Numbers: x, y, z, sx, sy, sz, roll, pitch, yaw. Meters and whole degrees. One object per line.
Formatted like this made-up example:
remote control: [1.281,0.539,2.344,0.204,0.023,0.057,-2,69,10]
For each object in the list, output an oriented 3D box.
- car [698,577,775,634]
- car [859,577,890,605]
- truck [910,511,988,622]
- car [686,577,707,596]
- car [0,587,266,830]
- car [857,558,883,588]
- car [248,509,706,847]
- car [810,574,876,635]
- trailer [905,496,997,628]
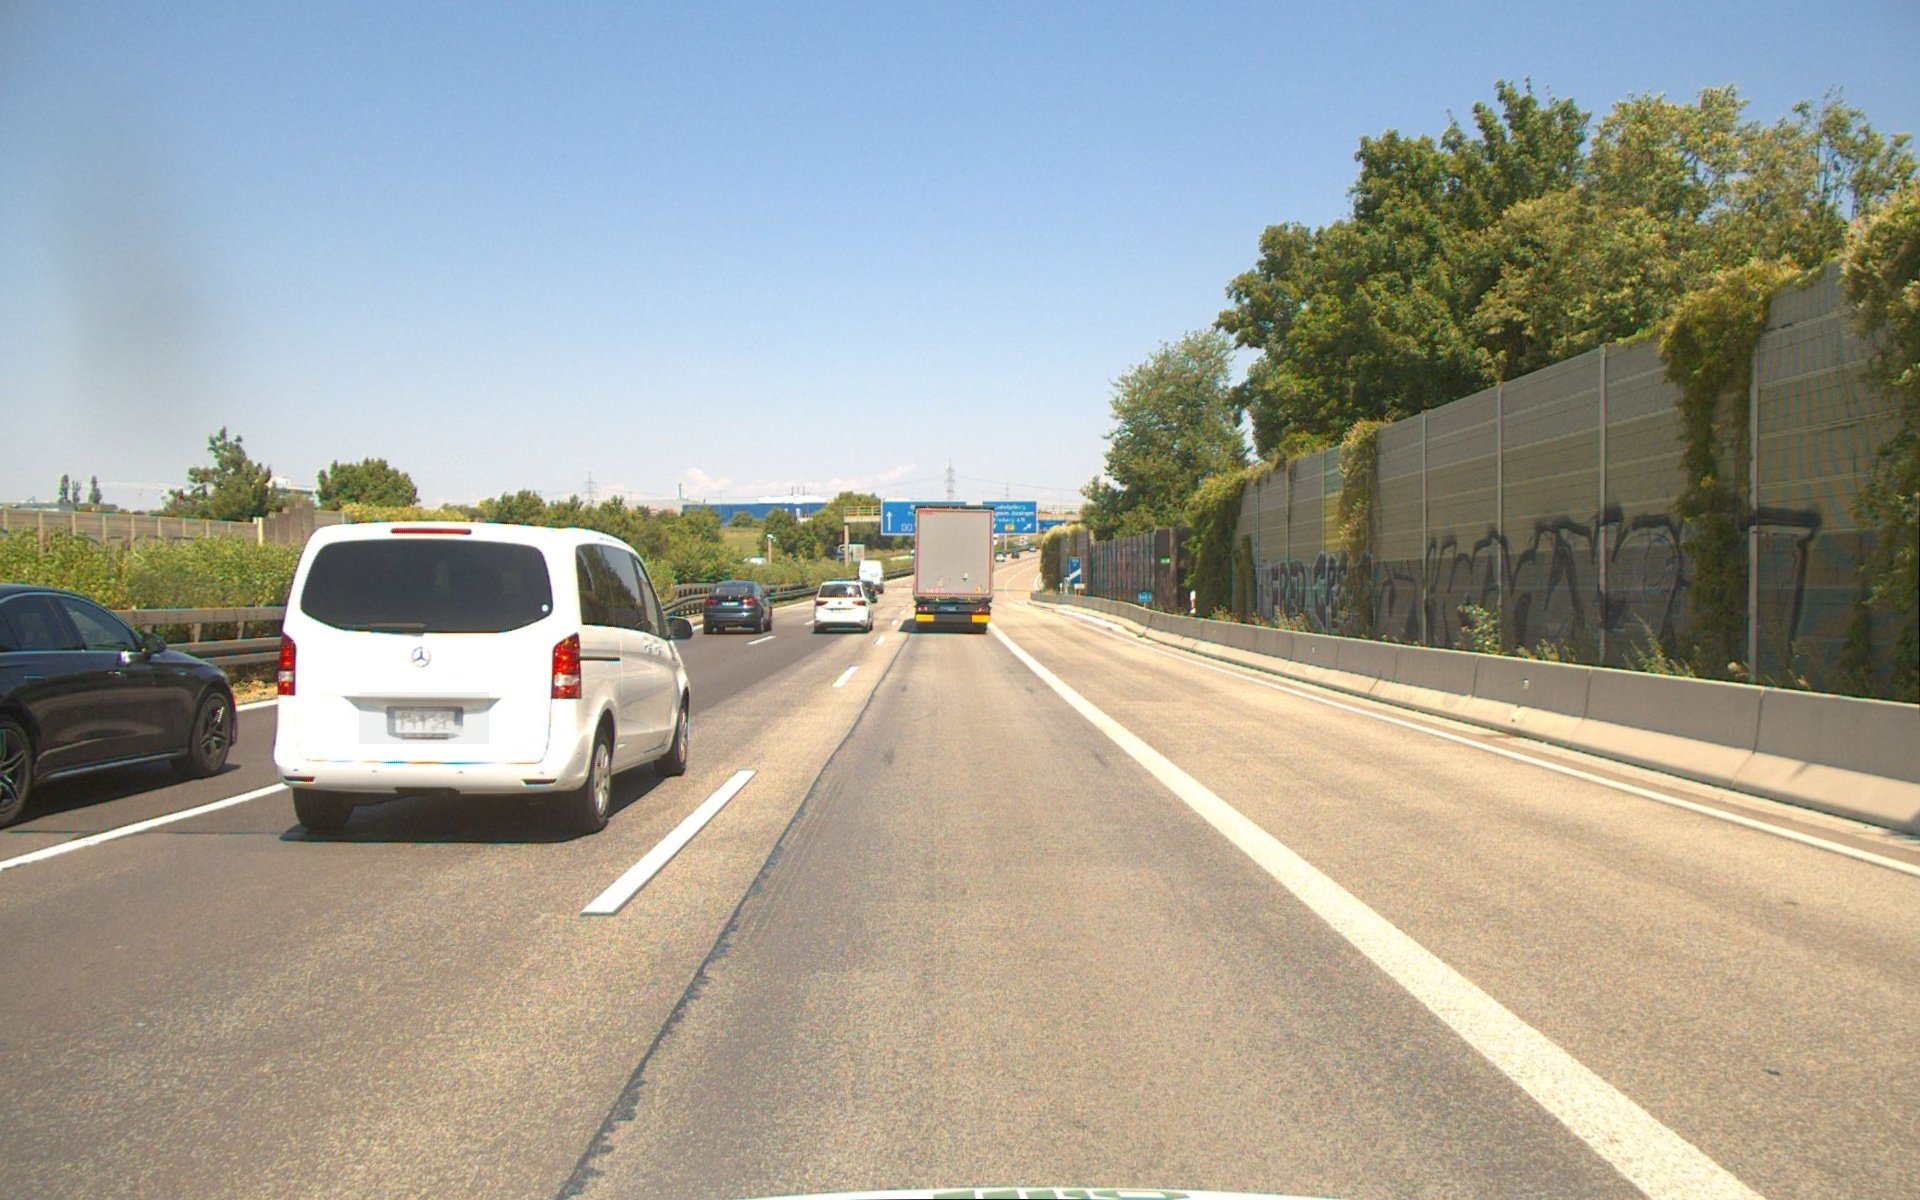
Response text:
car: [-7.089,0.146,52.865,1.866,1.718,4.630,0,0,-1]
car: [-5.512,-0.583,107.282,1.866,1.718,4.630,0,0,-1]
truck: [-0.457,-1.270,65.142,2.868,4.085,7.582,0,0,-1]
car: [-27.635,-1.419,173.567,1.637,2.049,3.999,0,0,-1]
car: [-6.602,0.636,11.214,1.721,1.433,5.039,0,1,-1]
car: [-7.705,-2.293,141.907,1.953,2.415,3.999,1,0,-1]
car: [-3.067,0.417,11.623,1.891,1.884,4.691,0,0,-1]
car: [-3.740,0.124,53.463,1.866,1.884,4.630,0,0,-1]
trailer: [-0.367,-1.240,57.657,2.868,4.085,12.036,0,0,-1]
